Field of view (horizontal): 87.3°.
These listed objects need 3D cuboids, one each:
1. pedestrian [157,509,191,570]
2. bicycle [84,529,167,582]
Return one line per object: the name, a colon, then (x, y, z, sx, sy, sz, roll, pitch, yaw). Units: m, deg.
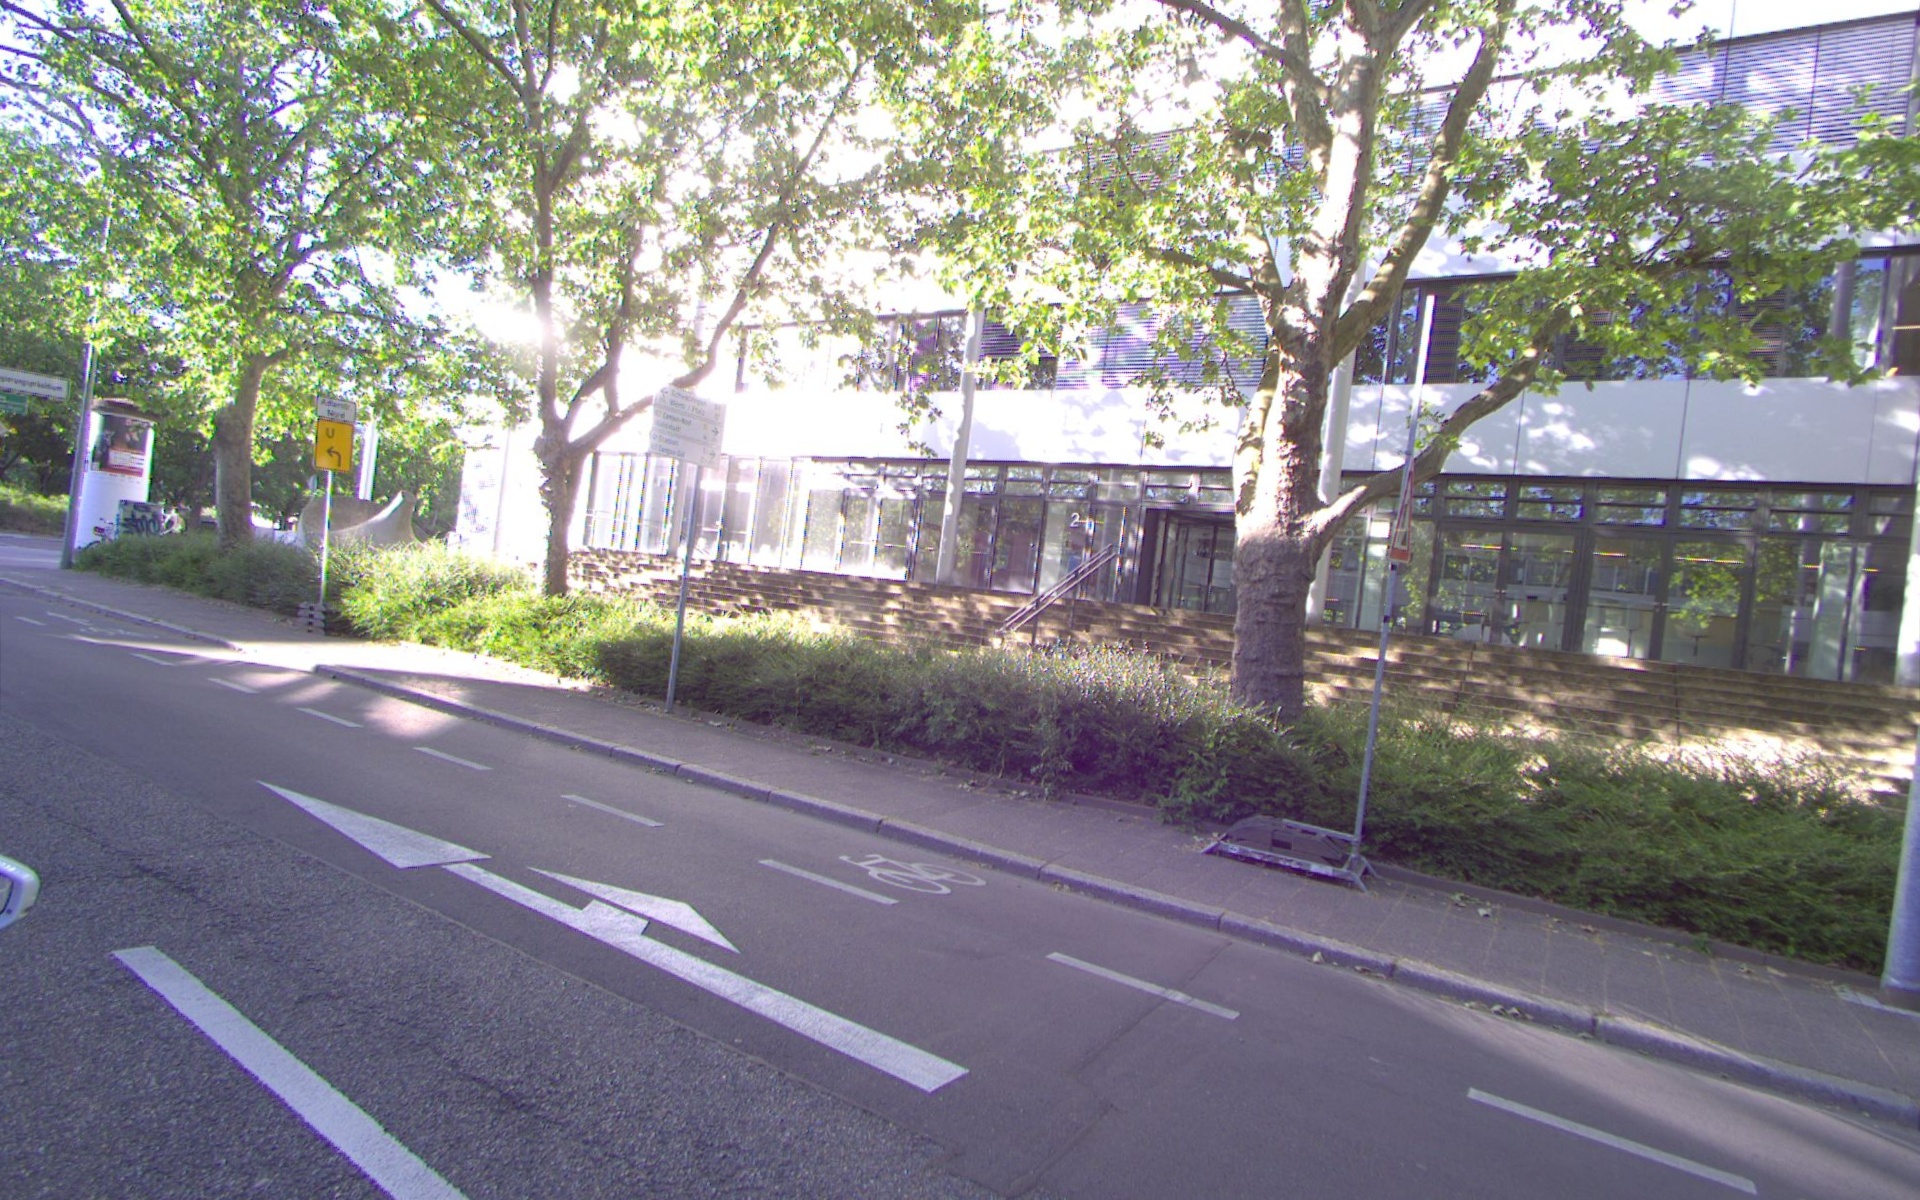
pedestrian: (-25.167, -1.933, 32.211, 0.584, 1.871, 0.552, 7, 0, 33)
bicycle: (-19.246, -1.018, 23.226, 0.357, 1.036, 1.354, 7, -1, 33)
